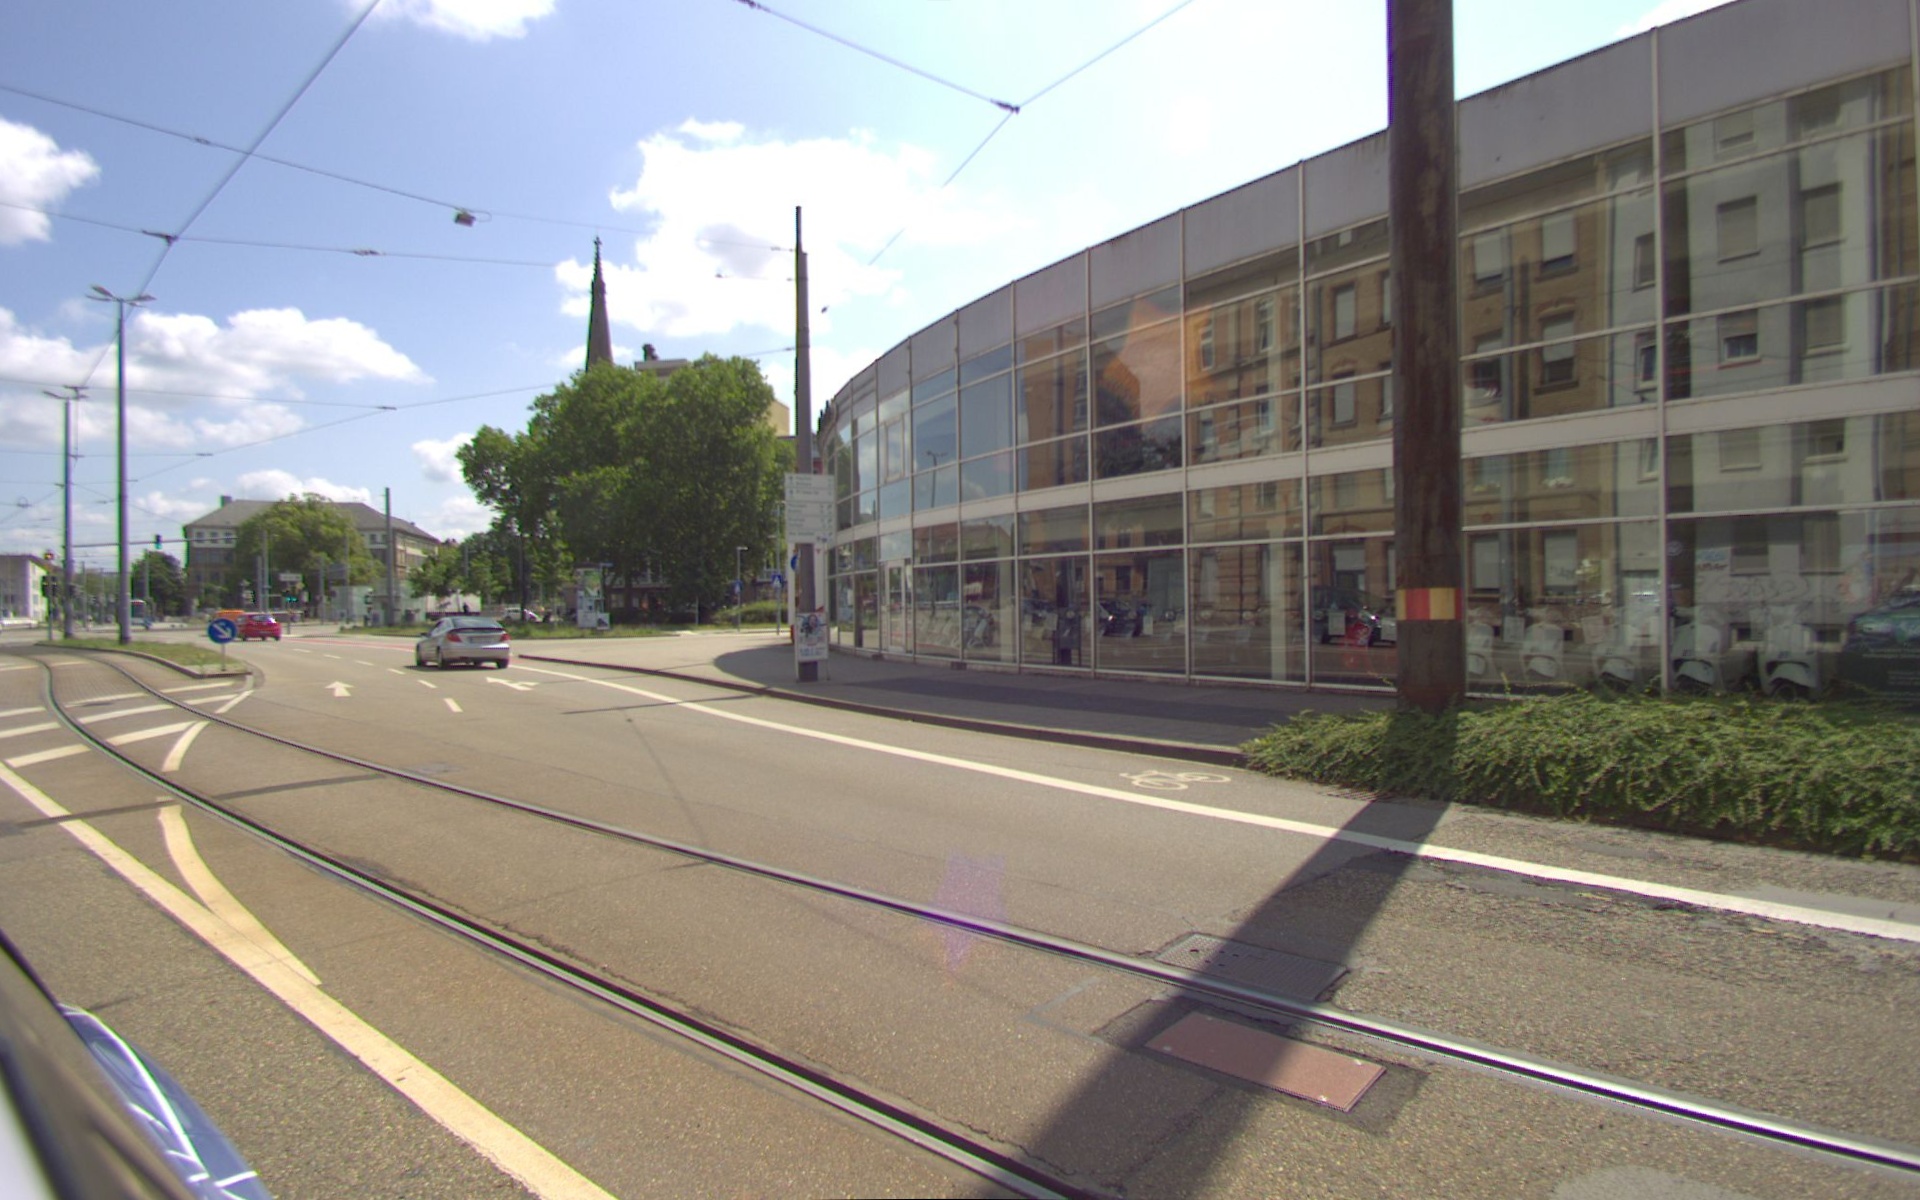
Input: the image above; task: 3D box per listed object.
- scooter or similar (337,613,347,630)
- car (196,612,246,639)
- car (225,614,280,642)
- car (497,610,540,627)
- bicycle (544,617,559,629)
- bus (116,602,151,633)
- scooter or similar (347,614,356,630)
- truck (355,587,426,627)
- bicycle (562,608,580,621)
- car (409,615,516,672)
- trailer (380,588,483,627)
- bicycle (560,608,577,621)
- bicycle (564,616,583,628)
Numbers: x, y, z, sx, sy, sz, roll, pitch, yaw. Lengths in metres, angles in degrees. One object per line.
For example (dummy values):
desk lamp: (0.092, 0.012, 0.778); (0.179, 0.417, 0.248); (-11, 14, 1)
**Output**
scooter or similar: (-45.463, 1.591, 74.420); (0.549, 1.209, 0.456); (-2, -1, 40)
car: (-52.265, 1.791, 71.545); (4.363, 1.880, 1.892); (-1, -1, 40)
car: (-37.414, 1.452, 53.508); (3.903, 1.439, 1.683); (-1, -2, 44)
car: (-47.490, 2.002, 108.860); (4.102, 1.655, 1.634); (-1, -1, -31)
bicycle: (-40.985, 2.307, 101.550); (1.258, 1.154, 0.458); (-2, -1, 6)
bus: (-95.823, 2.056, 117.412); (2.905, 3.473, 7.963); (-1, -1, -38)
scooter or similar: (-45.118, 1.638, 74.988); (0.556, 1.133, 0.411); (-2, -1, 40)
truck: (-60.928, 0.768, 108.430); (2.931, 4.150, 6.857); (-1, 0, 10)
bicycle: (-37.397, 1.426, 97.362); (1.585, 1.176, 0.492); (-1, 0, 10)
car: (-13.694, 1.128, 27.743); (1.791, 1.431, 4.196); (1, -1, -38)
trailer: (-59.806, 0.833, 115.192); (2.916, 4.107, 13.379); (-1, 0, 9)
bicycle: (-39.100, 1.416, 101.090); (1.585, 1.274, 0.492); (-1, 0, 10)
bicycle: (-35.896, 2.015, 93.906); (1.585, 1.074, 0.492); (-1, 0, 10)
